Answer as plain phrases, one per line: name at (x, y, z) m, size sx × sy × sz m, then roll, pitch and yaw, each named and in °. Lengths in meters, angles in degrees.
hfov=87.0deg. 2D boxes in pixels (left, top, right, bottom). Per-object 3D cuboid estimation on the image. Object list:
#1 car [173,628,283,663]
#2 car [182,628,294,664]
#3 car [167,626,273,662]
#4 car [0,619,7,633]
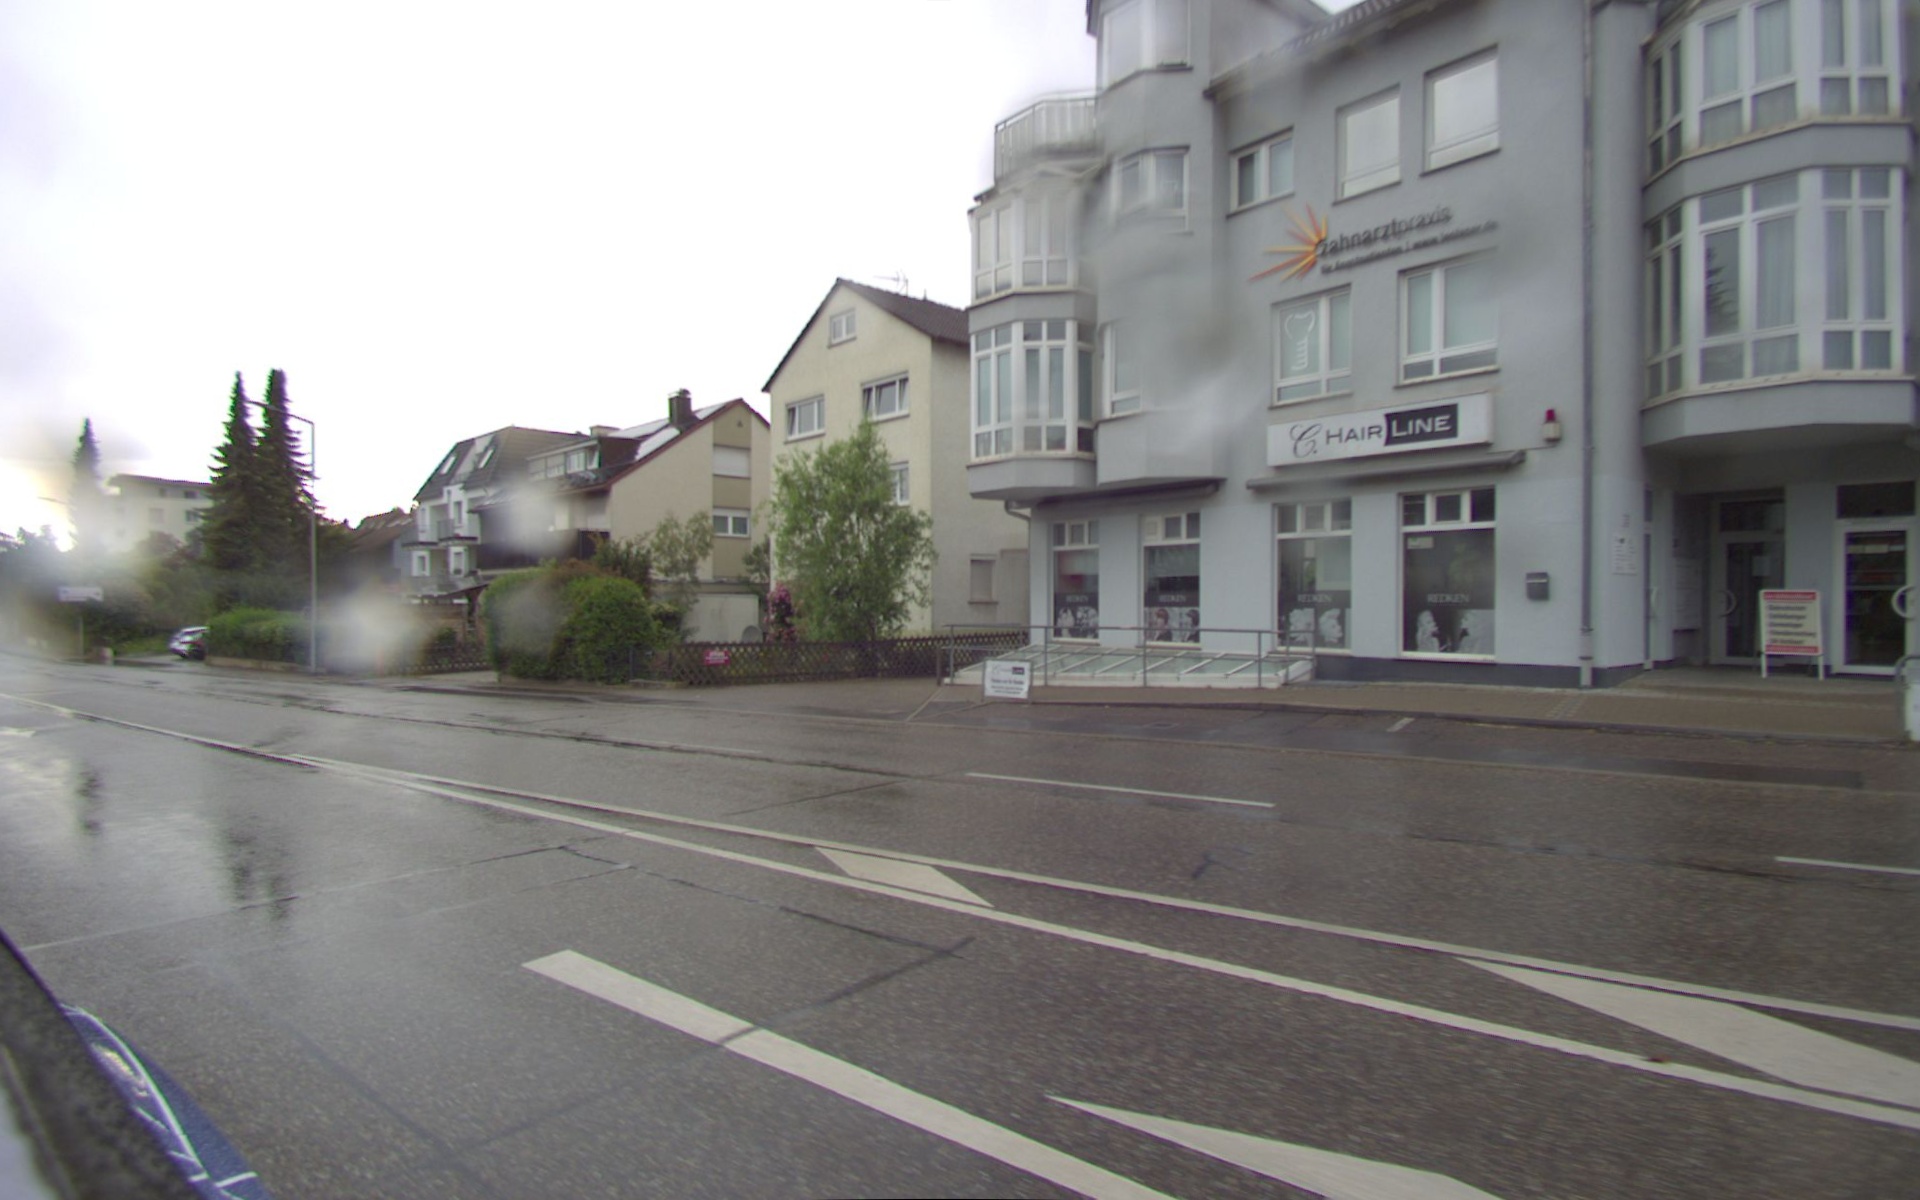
car at (-35.413, 2.185, 48.999) m, size 4.098 × 1.453 × 1.891 m, roll -2°, pitch 0°, yaw -44°
car at (-33.591, 2.110, 47.123) m, size 1.813 × 1.453 × 3.980 m, roll -2°, pitch 0°, yaw 44°
car at (-37.274, 2.183, 51.017) m, size 2.001 × 1.557 × 4.059 m, roll -2°, pitch 0°, yaw 44°
car at (-110.674, 3.011, 115.869) m, size 1.968 × 1.628 × 4.006 m, roll 0°, pitch -2°, yaw -40°
